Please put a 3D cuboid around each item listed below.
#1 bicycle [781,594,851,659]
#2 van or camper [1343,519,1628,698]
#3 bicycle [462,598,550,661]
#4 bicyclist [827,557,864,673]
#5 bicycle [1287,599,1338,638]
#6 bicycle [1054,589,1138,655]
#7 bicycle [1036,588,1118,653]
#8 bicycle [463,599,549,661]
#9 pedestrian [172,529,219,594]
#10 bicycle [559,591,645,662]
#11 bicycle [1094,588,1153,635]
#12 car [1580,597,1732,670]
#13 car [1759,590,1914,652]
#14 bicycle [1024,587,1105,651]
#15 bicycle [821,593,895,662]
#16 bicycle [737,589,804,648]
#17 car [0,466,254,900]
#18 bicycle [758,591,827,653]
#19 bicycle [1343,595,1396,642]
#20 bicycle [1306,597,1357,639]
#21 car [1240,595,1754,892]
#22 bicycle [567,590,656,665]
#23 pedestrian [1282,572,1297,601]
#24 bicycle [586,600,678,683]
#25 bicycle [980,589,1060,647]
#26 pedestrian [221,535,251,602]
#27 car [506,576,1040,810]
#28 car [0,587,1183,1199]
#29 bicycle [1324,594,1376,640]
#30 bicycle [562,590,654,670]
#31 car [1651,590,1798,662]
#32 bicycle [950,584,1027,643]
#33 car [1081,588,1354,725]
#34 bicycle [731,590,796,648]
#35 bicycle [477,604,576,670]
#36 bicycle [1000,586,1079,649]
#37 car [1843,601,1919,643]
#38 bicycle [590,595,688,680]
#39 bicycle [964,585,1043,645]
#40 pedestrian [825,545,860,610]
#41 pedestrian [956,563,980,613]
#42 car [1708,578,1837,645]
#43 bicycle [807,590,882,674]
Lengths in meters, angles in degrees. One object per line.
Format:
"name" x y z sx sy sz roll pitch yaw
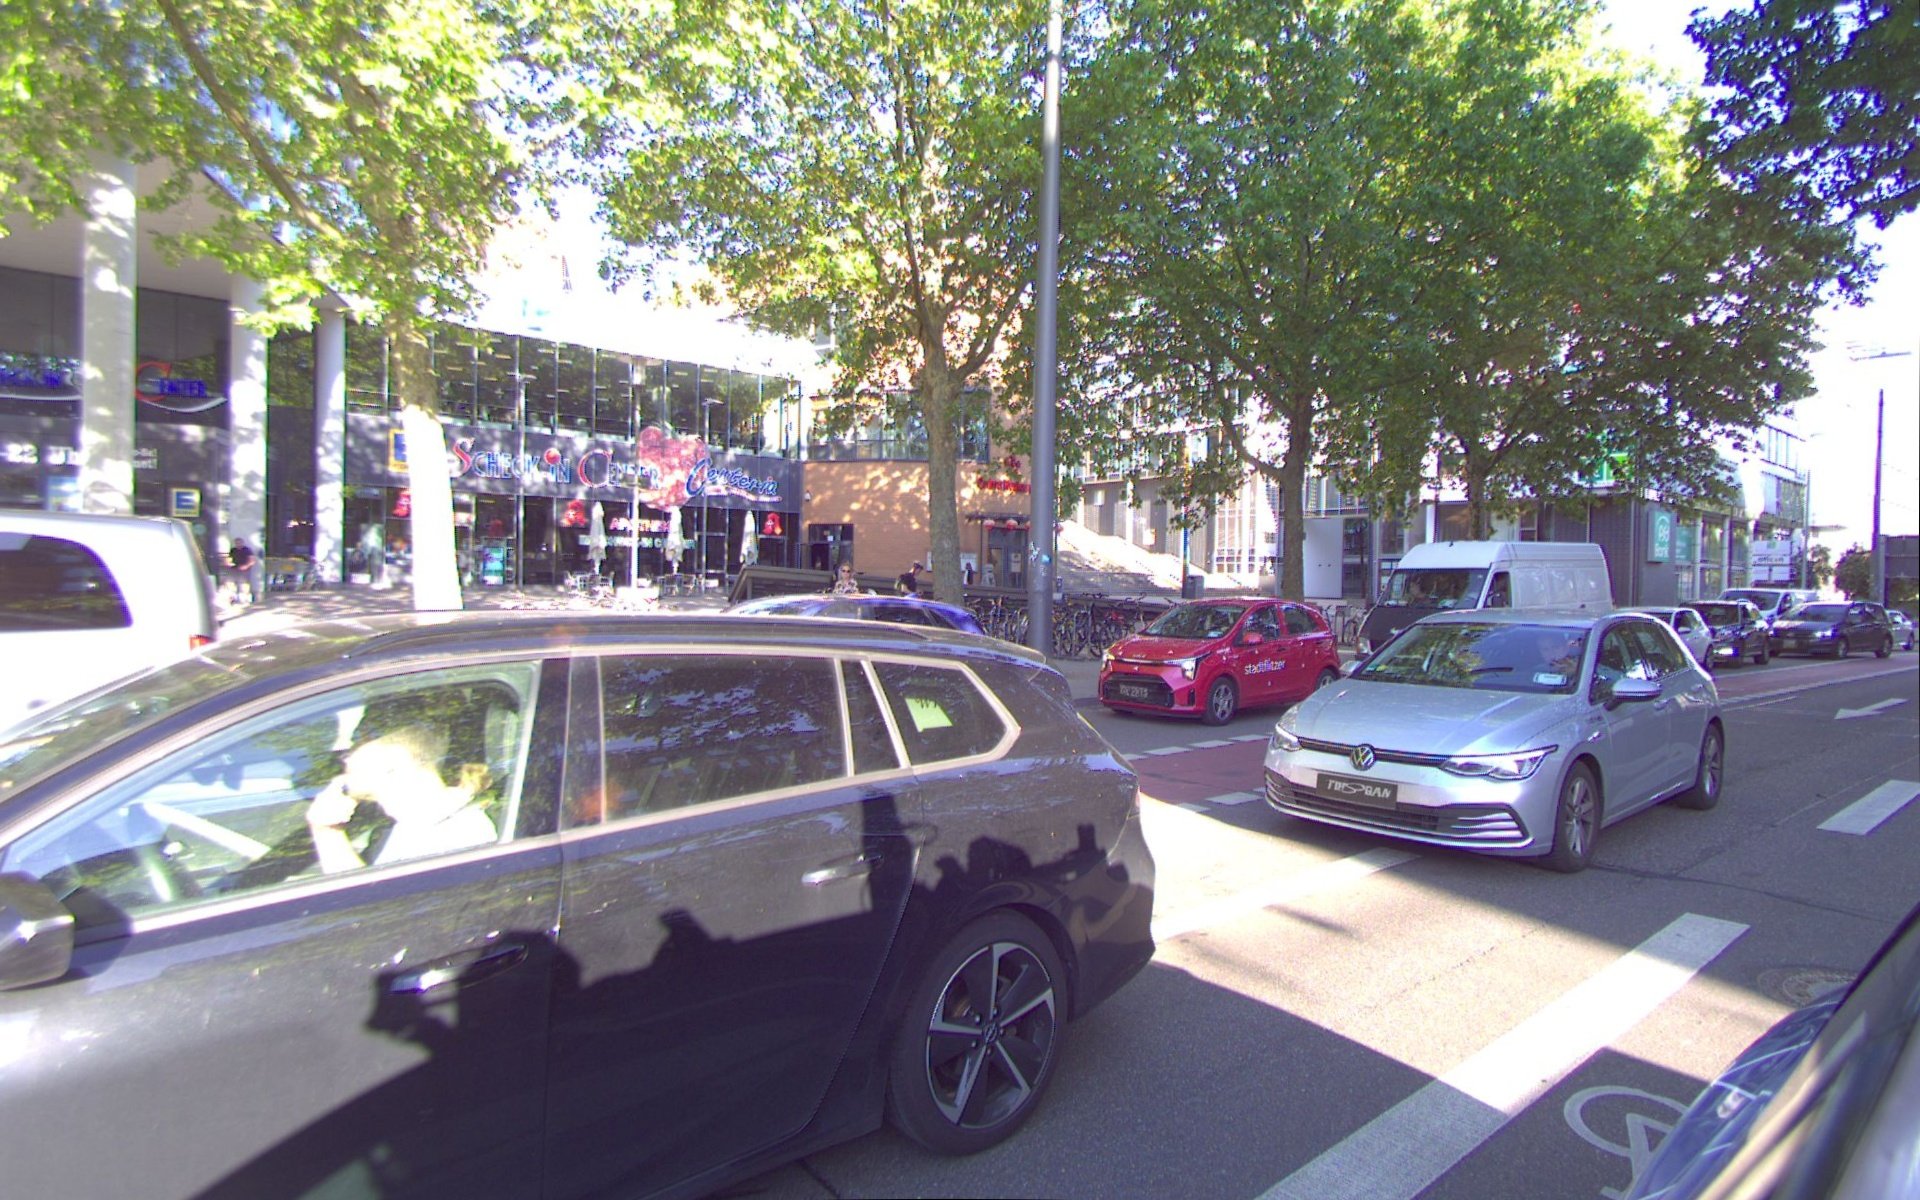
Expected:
"bicycle" -2.568 0.456 18.094 1.202 1.110 0.400 0 1 -40
"van or camper" 9.300 0.114 17.560 6.456 2.611 1.998 0 0 -39
"bicycle" -6.959 0.453 15.545 1.198 0.930 0.442 1 1 -22
"bicyclist" -1.784 0.226 15.800 0.392 1.782 0.390 0 1 -41
"bicycle" 9.925 0.505 28.456 1.818 1.046 0.515 0 2 -41
"bicycle" 2.621 0.398 19.367 1.818 1.209 0.481 0 1 -41
"bicycle" 2.298 0.388 19.752 1.818 1.209 0.448 0 1 -41
"bicycle" -7.121 0.462 15.923 1.198 0.938 0.465 1 1 -22
"pedestrian" -20.795 -1.037 27.539 0.789 1.728 0.719 1 1 -13
"bicycle" -5.792 0.411 16.427 0.414 1.110 1.269 2 1 41
"bicycle" 4.390 0.305 27.068 1.759 1.209 0.517 0 2 -41
"car" 15.393 0.682 22.318 3.927 1.446 1.683 0 1 -38
"car" 25.296 0.581 29.191 4.242 1.640 1.970 0 1 -28
"bicycle" 2.110 0.362 20.261 1.818 1.209 0.484 0 1 -41
"bicycle" -1.712 0.448 17.119 1.202 1.110 0.420 0 1 -40
"bicycle" -3.643 0.343 19.507 1.202 1.110 0.444 0 1 -40
"car" -6.217 0.357 4.386 5.008 2.004 1.940 0 2 -41
"bicycle" -3.107 0.397 18.844 1.202 1.110 0.427 0 1 -40
"bicycle" 11.033 0.473 27.234 1.818 1.209 0.521 0 2 -41
"bicycle" 10.309 0.480 28.046 1.766 1.108 0.522 0 2 -41
"car" 3.812 0.705 6.908 3.928 1.458 1.733 0 0 -39
"bicycle" -5.360 0.405 15.590 0.372 1.110 1.269 2 1 41
"pedestrian" 18.452 -0.743 56.624 0.707 1.578 0.638 1 1 14
"bicycle" -4.581 0.564 14.183 1.202 1.110 0.269 0 1 -40
"bicycle" 1.255 0.351 20.971 1.818 1.139 0.484 0 2 -41
"pedestrian" -18.720 -0.806 26.167 0.506 1.707 0.604 1 1 -23
"car" -1.409 0.590 8.638 4.177 1.503 1.742 0 2 -41
"car" -1.445 0.691 2.451 4.196 1.432 1.742 0 0 -41
"bicycle" 10.665 0.453 27.633 1.818 1.209 0.495 0 1 -41
"bicycle" -5.157 0.423 14.842 1.202 1.110 0.396 0 1 -40
"car" 19.100 0.591 25.244 4.148 1.640 1.819 0 1 -36
"bicycle" 0.637 0.271 21.703 1.818 1.209 0.434 0 1 -41
"car" 3.351 0.612 12.859 3.588 1.476 1.605 0 1 -41
"bicycle" -3.888 0.372 20.051 1.202 1.110 0.429 0 1 -40
"bicycle" -6.238 0.518 14.598 1.231 0.898 0.462 0 1 -40
"bicycle" 1.629 0.339 20.522 1.818 1.209 0.447 0 1 -41
"car" 33.520 0.750 36.521 3.927 1.394 1.802 0 2 -38
"bicycle" -4.402 0.494 13.917 1.202 1.110 0.413 0 1 -40
"bicycle" 0.935 0.296 21.350 1.818 1.209 0.458 0 1 -41
"pedestrian" -3.324 -0.629 28.640 0.868 1.805 0.604 1 1 -18
"pedestrian" 0.337 -0.497 42.273 0.575 2.062 0.876 1 1 -35
"car" 26.371 0.345 32.792 4.863 2.020 1.968 0 1 -35
"bicycle" -1.794 0.481 15.798 1.126 1.271 0.379 0 1 -41
